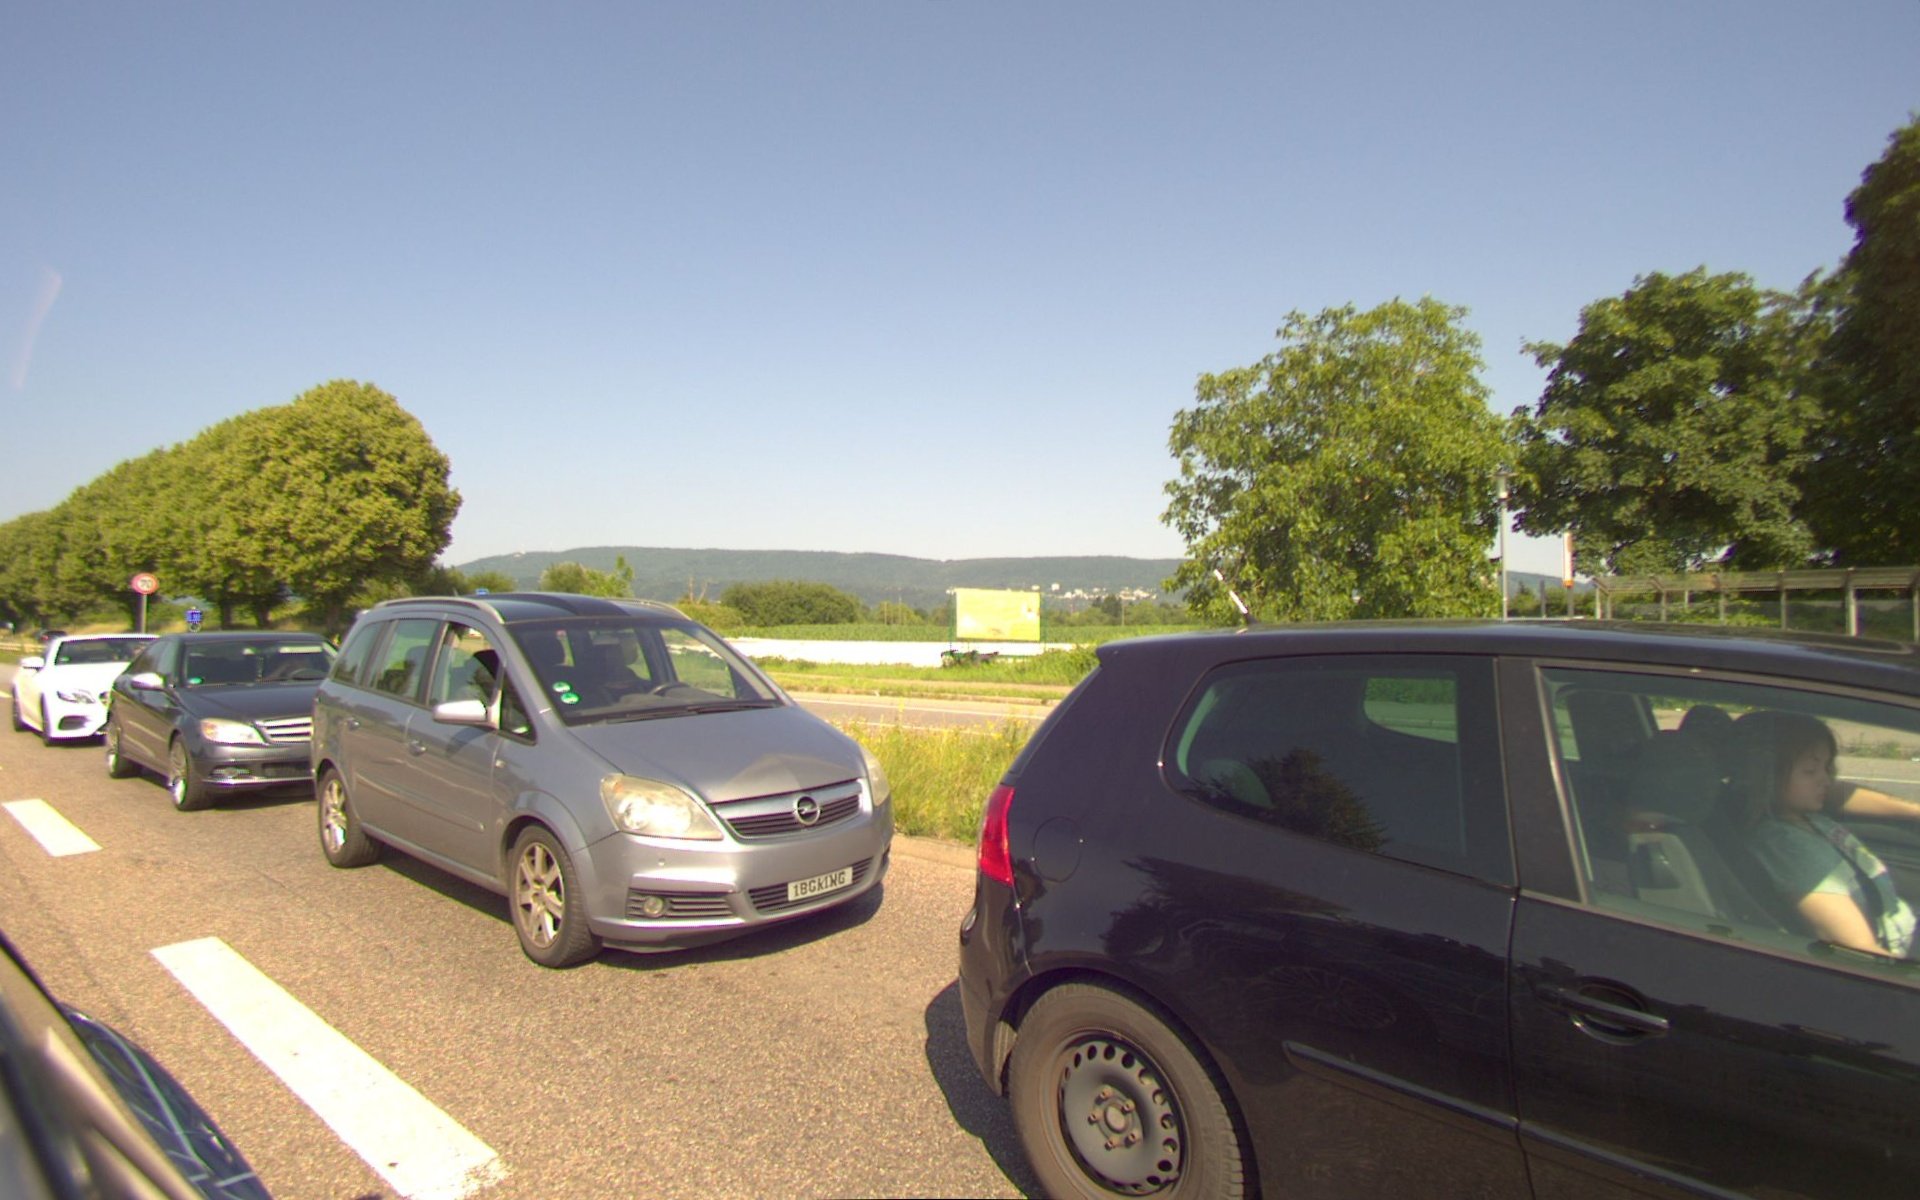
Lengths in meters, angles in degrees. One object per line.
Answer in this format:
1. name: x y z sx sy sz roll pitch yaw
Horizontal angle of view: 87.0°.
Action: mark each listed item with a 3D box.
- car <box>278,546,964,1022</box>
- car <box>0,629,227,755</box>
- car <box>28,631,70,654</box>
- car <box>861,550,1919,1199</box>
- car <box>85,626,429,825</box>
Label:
1. car: -2.184 0.706 5.697 4.355 1.685 1.723 -2 -1 42
2. car: -11.917 1.148 14.097 4.639 1.436 1.784 -2 -1 41
3. car: -76.309 3.549 84.725 4.952 1.854 1.972 -2 -4 42
4. car: 1.807 0.682 2.002 4.096 1.486 1.648 -2 -2 42
5. car: -6.741 0.987 9.505 4.353 1.421 1.696 -2 -1 42
